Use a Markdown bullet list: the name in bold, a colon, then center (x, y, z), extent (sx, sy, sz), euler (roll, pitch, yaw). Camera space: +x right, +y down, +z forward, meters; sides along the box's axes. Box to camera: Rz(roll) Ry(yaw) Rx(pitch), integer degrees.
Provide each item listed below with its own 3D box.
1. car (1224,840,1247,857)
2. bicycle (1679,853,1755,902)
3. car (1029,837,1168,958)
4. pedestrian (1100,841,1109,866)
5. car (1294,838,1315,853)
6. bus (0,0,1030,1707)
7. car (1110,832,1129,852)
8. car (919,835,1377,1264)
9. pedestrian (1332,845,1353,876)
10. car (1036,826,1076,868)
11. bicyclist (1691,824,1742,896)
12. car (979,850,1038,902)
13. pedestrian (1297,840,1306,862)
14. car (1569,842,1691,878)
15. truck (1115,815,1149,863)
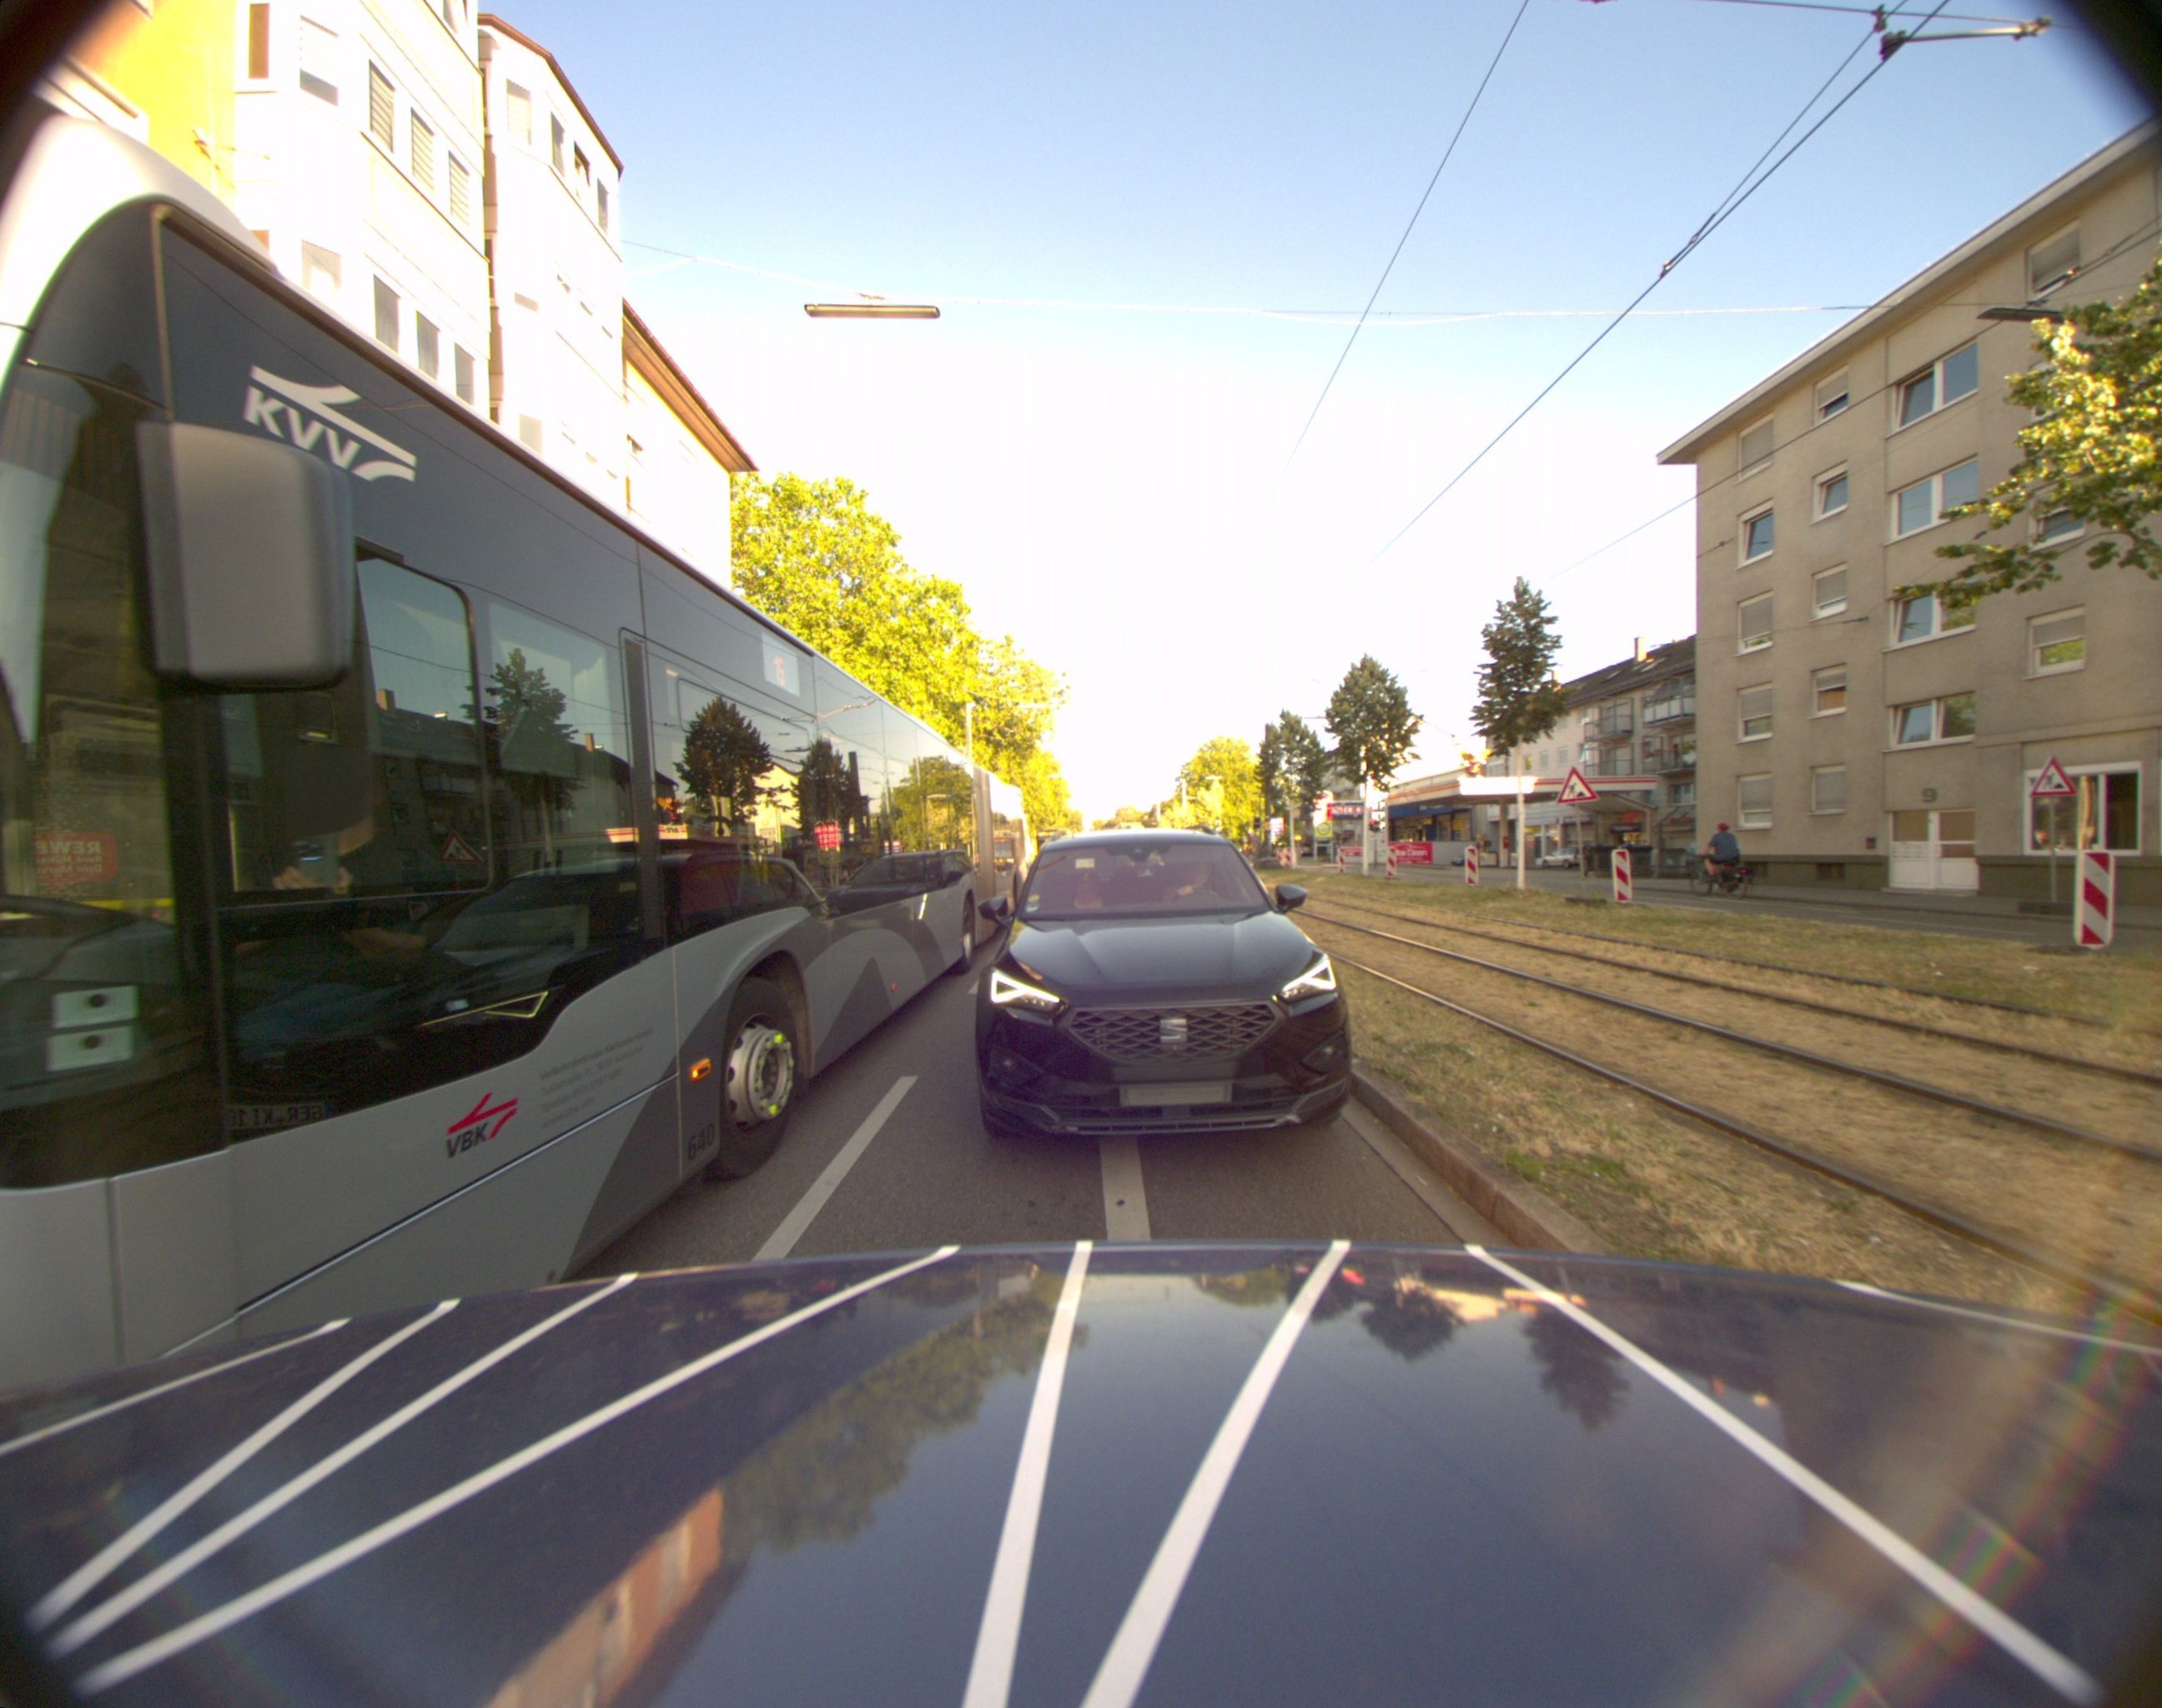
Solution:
- **car**: center (17.018, -0.597, 84.088), extent (1.998, 1.725, 4.394), euler (-2, 1, 5)
- **bicycle**: center (16.831, 0.595, 20.163), extent (0.456, 1.250, 1.870), euler (-1, 0, 0)
- **car**: center (0.268, 0.605, 12.962), extent (1.998, 1.740, 3.999), euler (0, 1, 0)
- **pedestrian**: center (1.944, -0.026, 62.122), extent (0.625, 2.002, 0.695), euler (-2, 1, 0)
- **car**: center (25.085, -0.976, 85.370), extent (1.781, 1.547, 4.001), euler (-2, 2, 9)
- **bus**: center (-2.740, 0.102, 9.609), extent (2.773, 3.132, 17.738), euler (-1, 1, 0)
- **car**: center (3.979, -1.281, 79.067), extent (1.767, 2.002, 3.791), euler (-2, 1, 1)
- **car**: center (0.296, 0.764, 5.034), extent (1.774, 1.667, 3.999), euler (-2, 1, 1)
- **pedestrian**: center (10.930, 0.265, 31.781), extent (0.664, 1.263, 0.581), euler (-2, 0, 1)
- **car**: center (-1.784, -0.524, 56.258), extent (2.681, 2.875, 5.451), euler (-2, 1, 0)
- **bicyclist**: center (16.827, 0.153, 20.143), extent (0.653, 1.872, 0.809), euler (0, 1, 0)
- **car**: center (-2.500, 0.714, 27.073), extent (1.750, 1.598, 3.823), euler (-2, 1, -1)
- **pedestrian**: center (20.531, -0.293, 70.720), extent (0.632, 2.002, 0.583), euler (-3, 1, 2)
- **car**: center (22.833, 0.251, 31.722), extent (3.727, 1.460, 1.908), euler (0, -1, 0)
- **truck**: center (4.275, -1.315, 65.067), extent (2.306, 3.798, 7.722), euler (-2, 1, 1)
